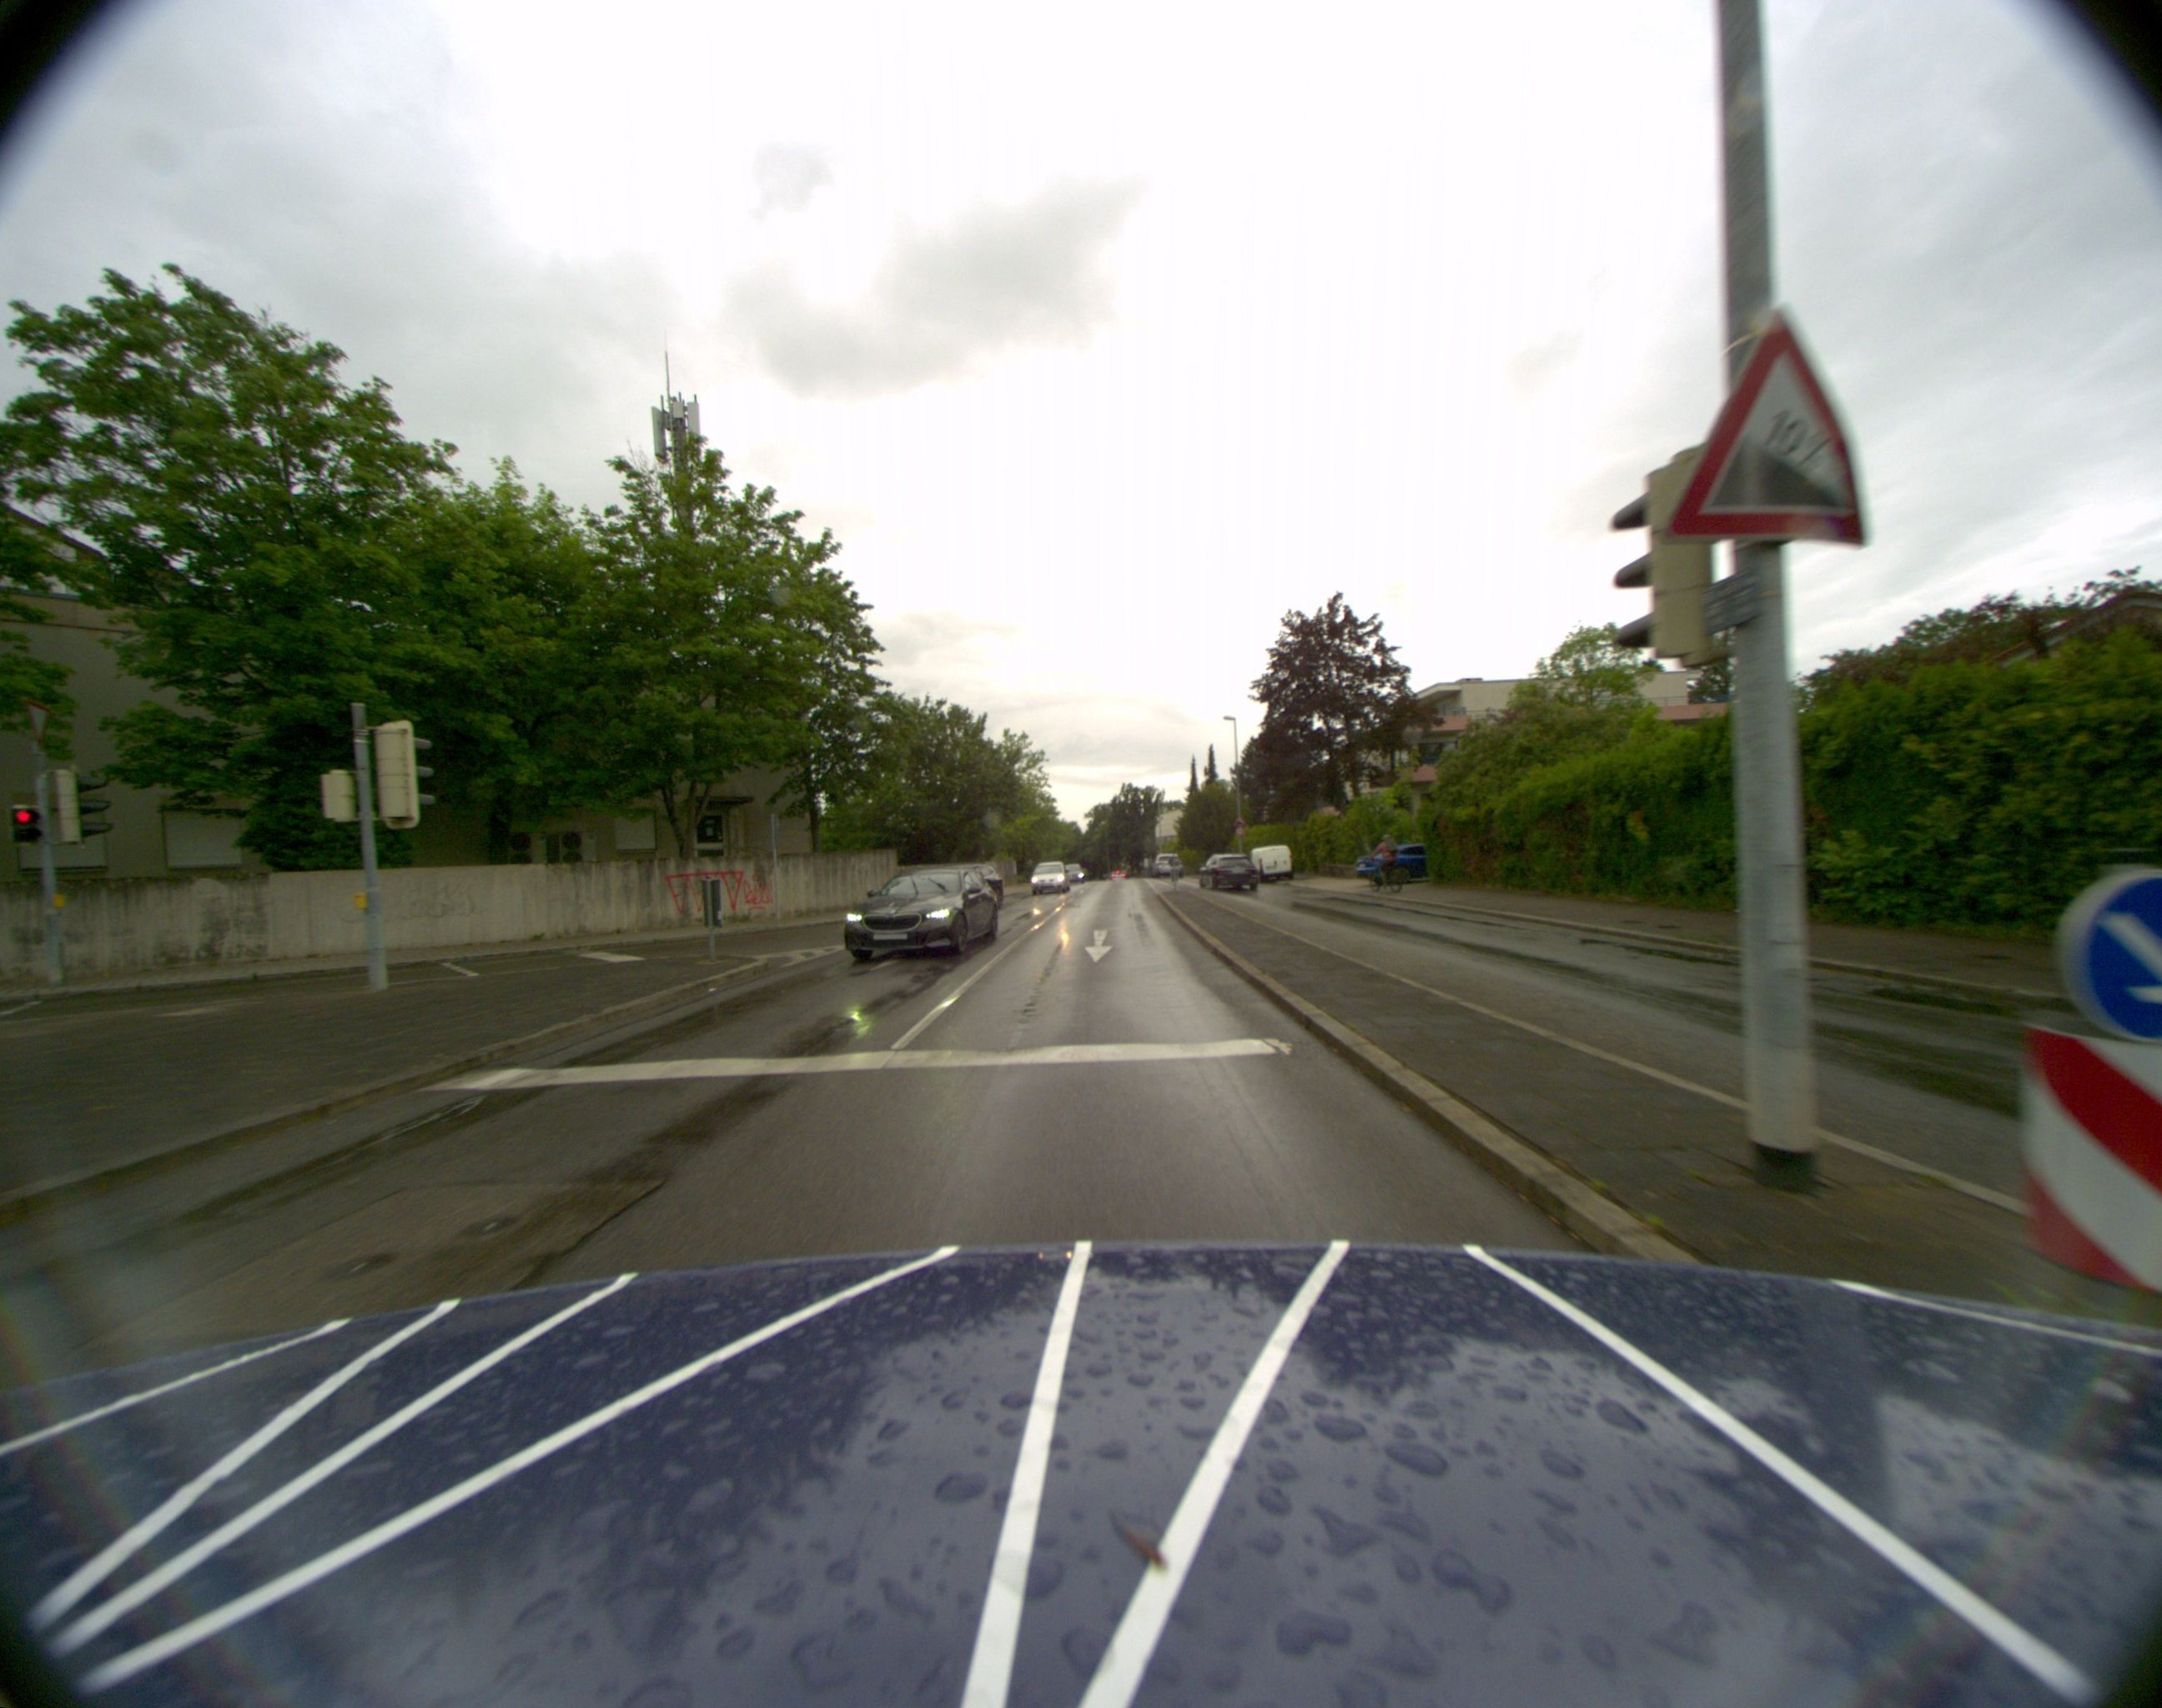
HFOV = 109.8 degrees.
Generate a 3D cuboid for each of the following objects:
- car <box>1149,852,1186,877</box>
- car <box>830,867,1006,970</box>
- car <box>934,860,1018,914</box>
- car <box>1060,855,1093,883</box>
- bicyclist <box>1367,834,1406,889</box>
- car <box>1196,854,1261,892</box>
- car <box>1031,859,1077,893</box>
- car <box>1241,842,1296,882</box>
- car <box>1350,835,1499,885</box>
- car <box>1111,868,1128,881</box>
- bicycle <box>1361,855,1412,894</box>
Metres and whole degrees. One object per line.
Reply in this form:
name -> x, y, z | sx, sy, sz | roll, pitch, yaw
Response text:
car -> 6.283, 0.788, 55.700 | 2.046, 1.706, 4.481 | -2, 0, -1
car -> -2.799, 1.061, 14.300 | 1.909, 1.450, 4.779 | -3, 0, 4
car -> -3.631, 1.111, 27.128 | 1.793, 1.594, 4.255 | -4, 0, 7
car -> -0.307, 1.129, 55.594 | 2.035, 1.690, 4.003 | -6, -4, 2
bicyclist -> 9.366, 0.227, 23.320 | 0.766, 1.602, 0.868 | -4, 1, 2
car -> 6.101, 0.749, 31.891 | 1.742, 1.429, 4.556 | -1, 0, -1
car -> -1.295, 1.067, 38.541 | 1.639, 1.496, 4.002 | -4, 0, 7
car -> 9.370, 0.407, 38.227 | 1.705, 1.697, 3.979 | -6, -1, 1
car -> 12.311, 0.247, 27.428 | 4.495, 1.354, 1.805 | -5, -1, -3
car -> 4.996, 2.617, 98.692 | 1.640, 1.570, 4.055 | 0, 0, -6
bicycle -> 9.383, 0.603, 23.431 | 0.749, 1.080, 1.989 | -4, 1, 2
